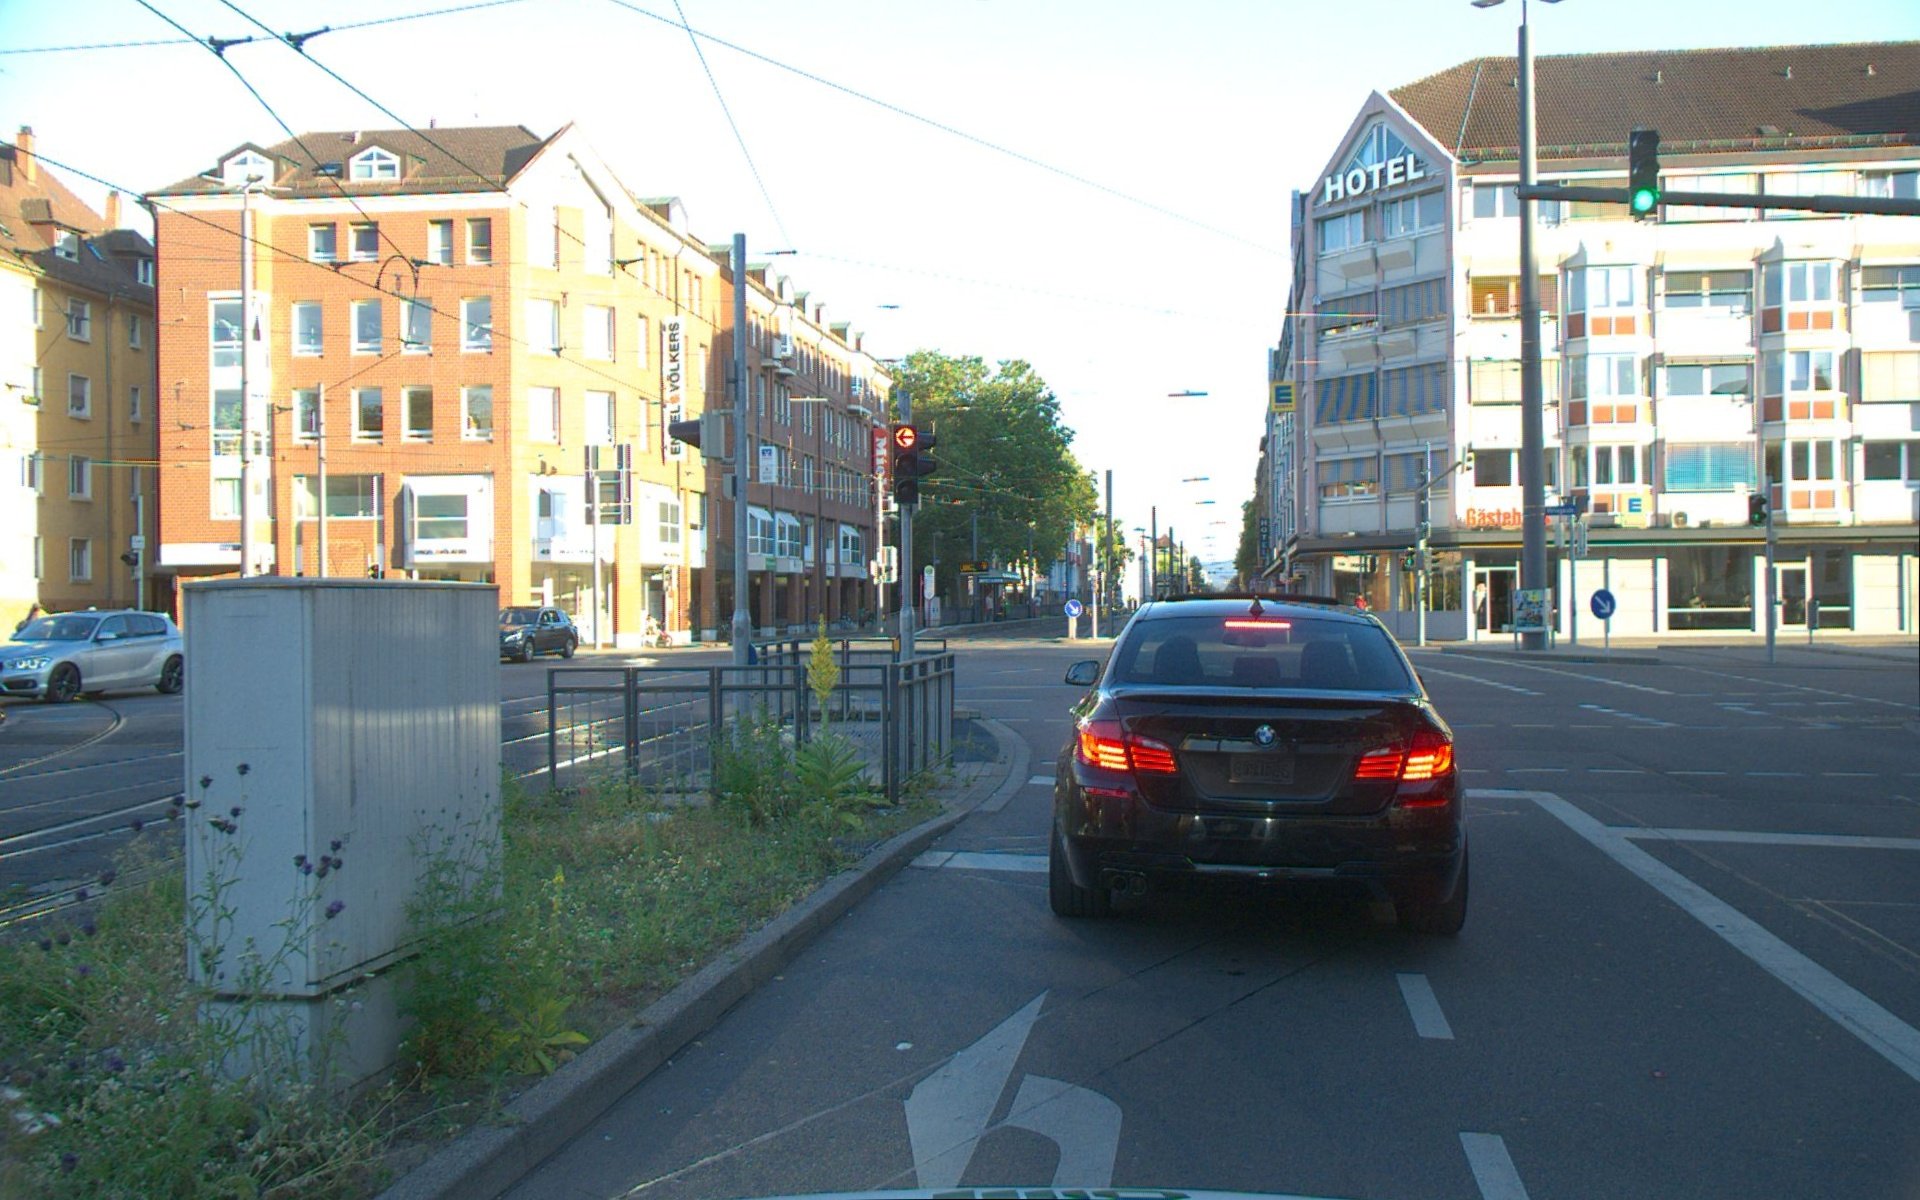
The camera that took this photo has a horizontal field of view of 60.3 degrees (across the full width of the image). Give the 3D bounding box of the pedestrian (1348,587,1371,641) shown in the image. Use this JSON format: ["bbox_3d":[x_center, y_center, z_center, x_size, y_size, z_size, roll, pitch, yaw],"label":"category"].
[{"bbox_3d":[14.043,0.488,58.138,0.670,1.887,0.671,-1,0,6],"label":"pedestrian"}]

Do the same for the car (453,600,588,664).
[{"bbox_3d":[-11.824,0.823,44.817,1.951,1.612,4.482,-1,0,7],"label":"car"}]

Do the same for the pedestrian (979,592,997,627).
[{"bbox_3d":[1.652,0.566,97.441,0.967,2.049,0.726,1,0,8],"label":"pedestrian"}]

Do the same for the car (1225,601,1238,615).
[{"bbox_3d":[31.937,0.954,194.701,1.441,1.541,3.098,-1,0,8],"label":"car"}]

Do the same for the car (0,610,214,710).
[{"bbox_3d":[-14.334,0.925,27.114,1.633,1.473,4.205,-1,0,12],"label":"car"}]

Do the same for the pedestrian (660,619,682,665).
[{"bbox_3d":[-12.305,1.778,70.478,0.621,1.900,0.676,1,0,36],"label":"pedestrian"}]

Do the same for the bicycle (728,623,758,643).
[{"bbox_3d":[-10.329,1.577,78.770,1.385,0.938,0.443,1,0,-7],"label":"bicycle"}]

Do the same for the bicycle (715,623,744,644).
[{"bbox_3d":[-10.715,1.575,76.775,1.258,0.938,0.349,1,0,6],"label":"bicycle"}]

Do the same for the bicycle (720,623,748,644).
[{"bbox_3d":[-10.559,1.576,77.405,1.261,0.938,0.349,1,0,-7],"label":"bicycle"}]

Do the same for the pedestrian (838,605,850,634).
[{"bbox_3d":[-6.821,1.154,97.436,0.475,1.710,0.655,-1,0,13],"label":"pedestrian"}]

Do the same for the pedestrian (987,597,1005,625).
[{"bbox_3d":[2.237,0.685,102.593,0.967,1.710,0.726,-1,0,8],"label":"pedestrian"}]

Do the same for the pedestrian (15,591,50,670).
[{"bbox_3d":[-22.579,0.728,40.266,0.491,1.900,0.563,1,0,4],"label":"pedestrian"}]

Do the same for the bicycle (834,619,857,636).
[{"bbox_3d":[-6.887,1.651,99.511,1.385,0.938,0.403,1,0,-4],"label":"bicycle"}]

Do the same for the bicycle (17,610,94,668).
[{"bbox_3d":[-22.013,0.939,40.305,0.605,1.348,2.017,1,0,6],"label":"bicycle"}]

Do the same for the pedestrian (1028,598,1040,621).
[{"bbox_3d":[5.440,0.682,121.770,0.708,1.710,0.992,-1,0,12],"label":"pedestrian"}]

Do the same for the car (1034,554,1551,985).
[{"bbox_3d":[1.465,0.639,8.432,1.951,1.612,4.003,1,0,5],"label":"car"}]
